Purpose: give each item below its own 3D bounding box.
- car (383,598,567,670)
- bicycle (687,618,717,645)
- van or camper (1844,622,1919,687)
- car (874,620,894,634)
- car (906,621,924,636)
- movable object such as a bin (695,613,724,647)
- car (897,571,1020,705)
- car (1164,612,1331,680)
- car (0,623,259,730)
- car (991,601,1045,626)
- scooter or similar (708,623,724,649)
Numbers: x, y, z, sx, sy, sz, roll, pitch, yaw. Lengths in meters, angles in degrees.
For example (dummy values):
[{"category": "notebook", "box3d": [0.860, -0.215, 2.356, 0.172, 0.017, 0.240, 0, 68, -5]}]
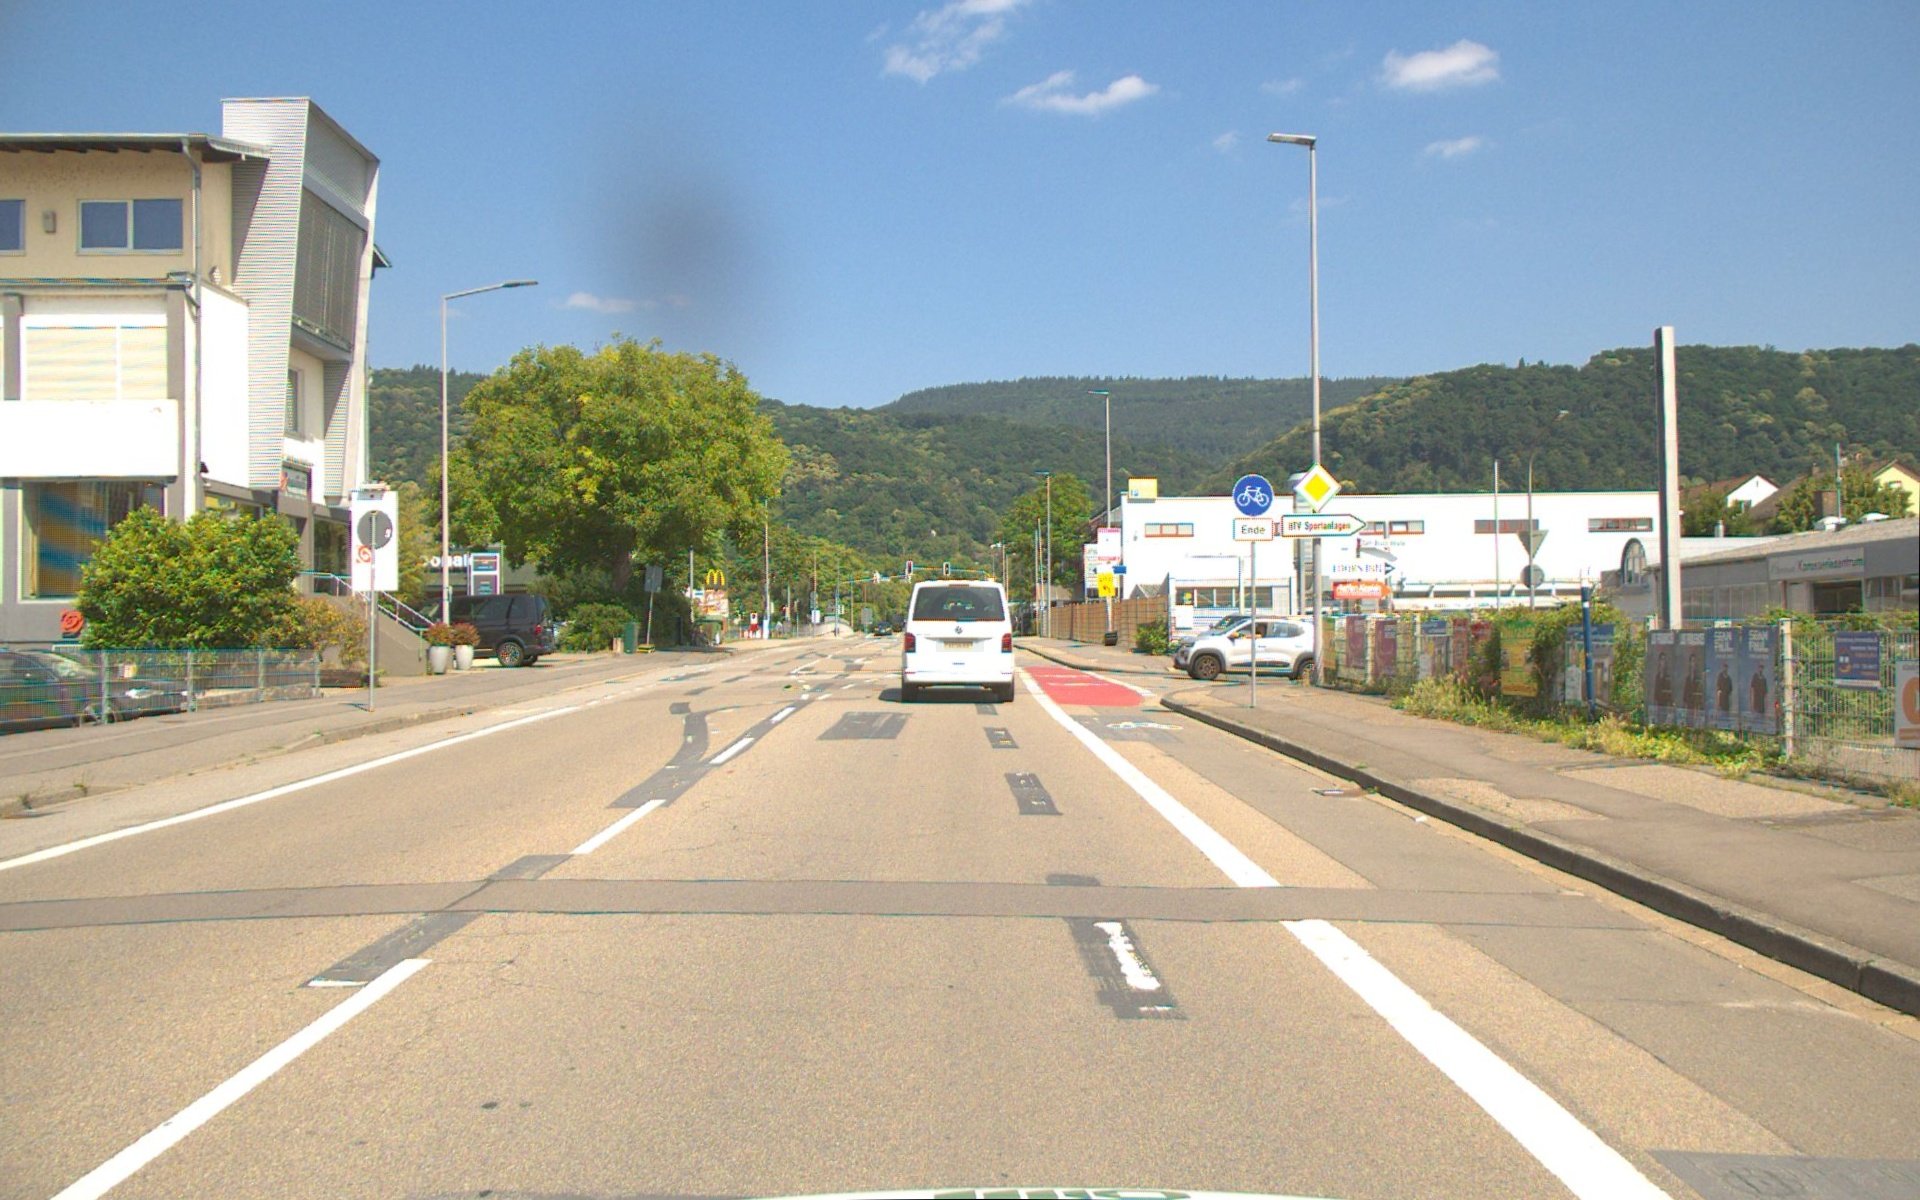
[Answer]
[{"category": "car", "box3d": [-13.137, 0.919, 45.081, 4.478, 1.898, 2.090, 0, -1, -6]}, {"category": "bicycle", "box3d": [-11.415, 1.401, 73.264, 1.006, 1.137, 2.763, 2, -1, -4]}, {"category": "van or camper", "box3d": [25.256, 1.473, 44.833, 1.954, 1.570, 4.225, -6, -4, 25]}, {"category": "car", "box3d": [-7.832, 2.733, 169.642, 1.954, 1.394, 4.323, -1, -1, -3]}, {"category": "car", "box3d": [-4.708, 3.007, 174.639, 1.812, 1.616, 3.999, -1, -1, -1]}, {"category": "movable object such as a bin", "box3d": [-12.528, 1.494, 82.708, 1.421, 1.618, 1.304, -1, -1, -10]}, {"category": "car", "box3d": [-0.106, 0.634, 28.626, 1.896, 2.096, 4.541, 1, -1, -3]}, {"category": "car", "box3d": [6.583, 1.043, 38.135, 3.589, 1.510, 1.728, 0, -1, 1]}, {"category": "car", "box3d": [-13.524, 1.157, 25.382, 4.644, 1.507, 2.047, -1, -1, -3]}, {"category": "car", "box3d": [4.385, 1.019, 123.808, 3.903, 1.806, 2.001, -1, -1, 5]}, {"category": "scooter or similar", "box3d": [-11.342, 1.667, 76.964, 0.634, 1.147, 1.620, 2, -1, -7]}]
